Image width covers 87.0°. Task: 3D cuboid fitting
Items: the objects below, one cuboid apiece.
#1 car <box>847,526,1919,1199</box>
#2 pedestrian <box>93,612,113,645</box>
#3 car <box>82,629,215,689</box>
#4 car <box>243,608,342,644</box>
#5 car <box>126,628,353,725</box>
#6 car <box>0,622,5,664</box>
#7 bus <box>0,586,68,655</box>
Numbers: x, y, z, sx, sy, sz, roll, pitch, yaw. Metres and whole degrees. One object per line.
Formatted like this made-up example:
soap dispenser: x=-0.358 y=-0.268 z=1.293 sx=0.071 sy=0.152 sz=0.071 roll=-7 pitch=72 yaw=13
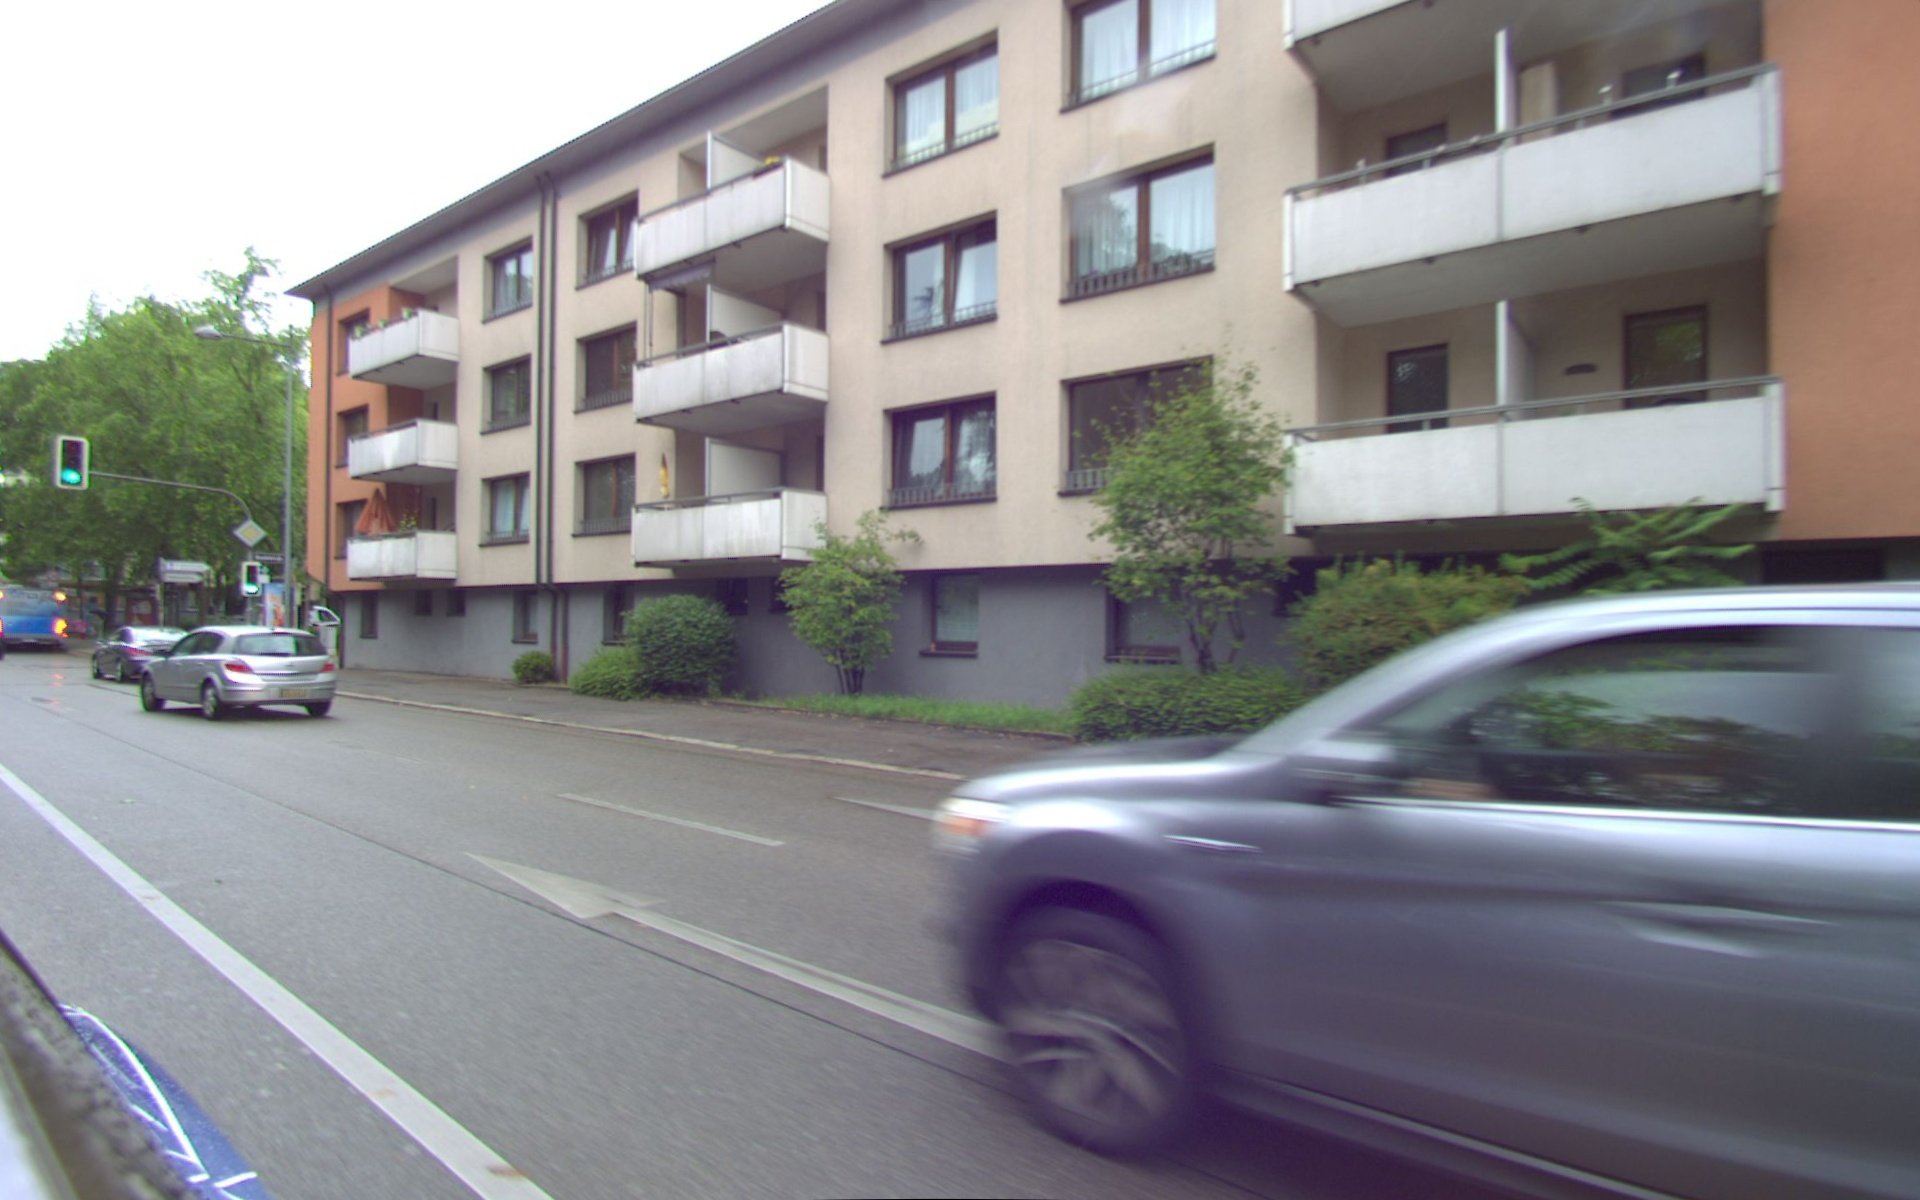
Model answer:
car: x=1.850 y=0.713 z=2.680 sx=4.225 sy=1.591 sz=1.796 roll=-2 pitch=-3 yaw=38
pedestrian: x=-47.308 y=1.566 z=55.845 sx=0.687 sy=1.782 sz=0.702 roll=-1 pitch=1 yaw=41
car: x=-21.294 y=1.499 z=26.487 sx=4.678 sy=1.426 sz=1.795 roll=-2 pitch=-3 yaw=40
car: x=-37.358 y=1.486 z=56.737 sx=1.701 sy=1.937 sz=4.280 roll=-1 pitch=-3 yaw=38
car: x=-11.934 y=1.193 z=16.694 sx=4.039 sy=1.426 sz=1.797 roll=-1 pitch=-3 yaw=35
car: x=-36.700 y=1.566 z=37.344 sx=3.887 sy=1.503 sz=1.669 roll=-2 pitch=-4 yaw=41
bus: x=-45.199 y=0.961 z=48.056 sx=12.079 sy=2.962 sz=2.665 roll=0 pitch=-2 yaw=41
